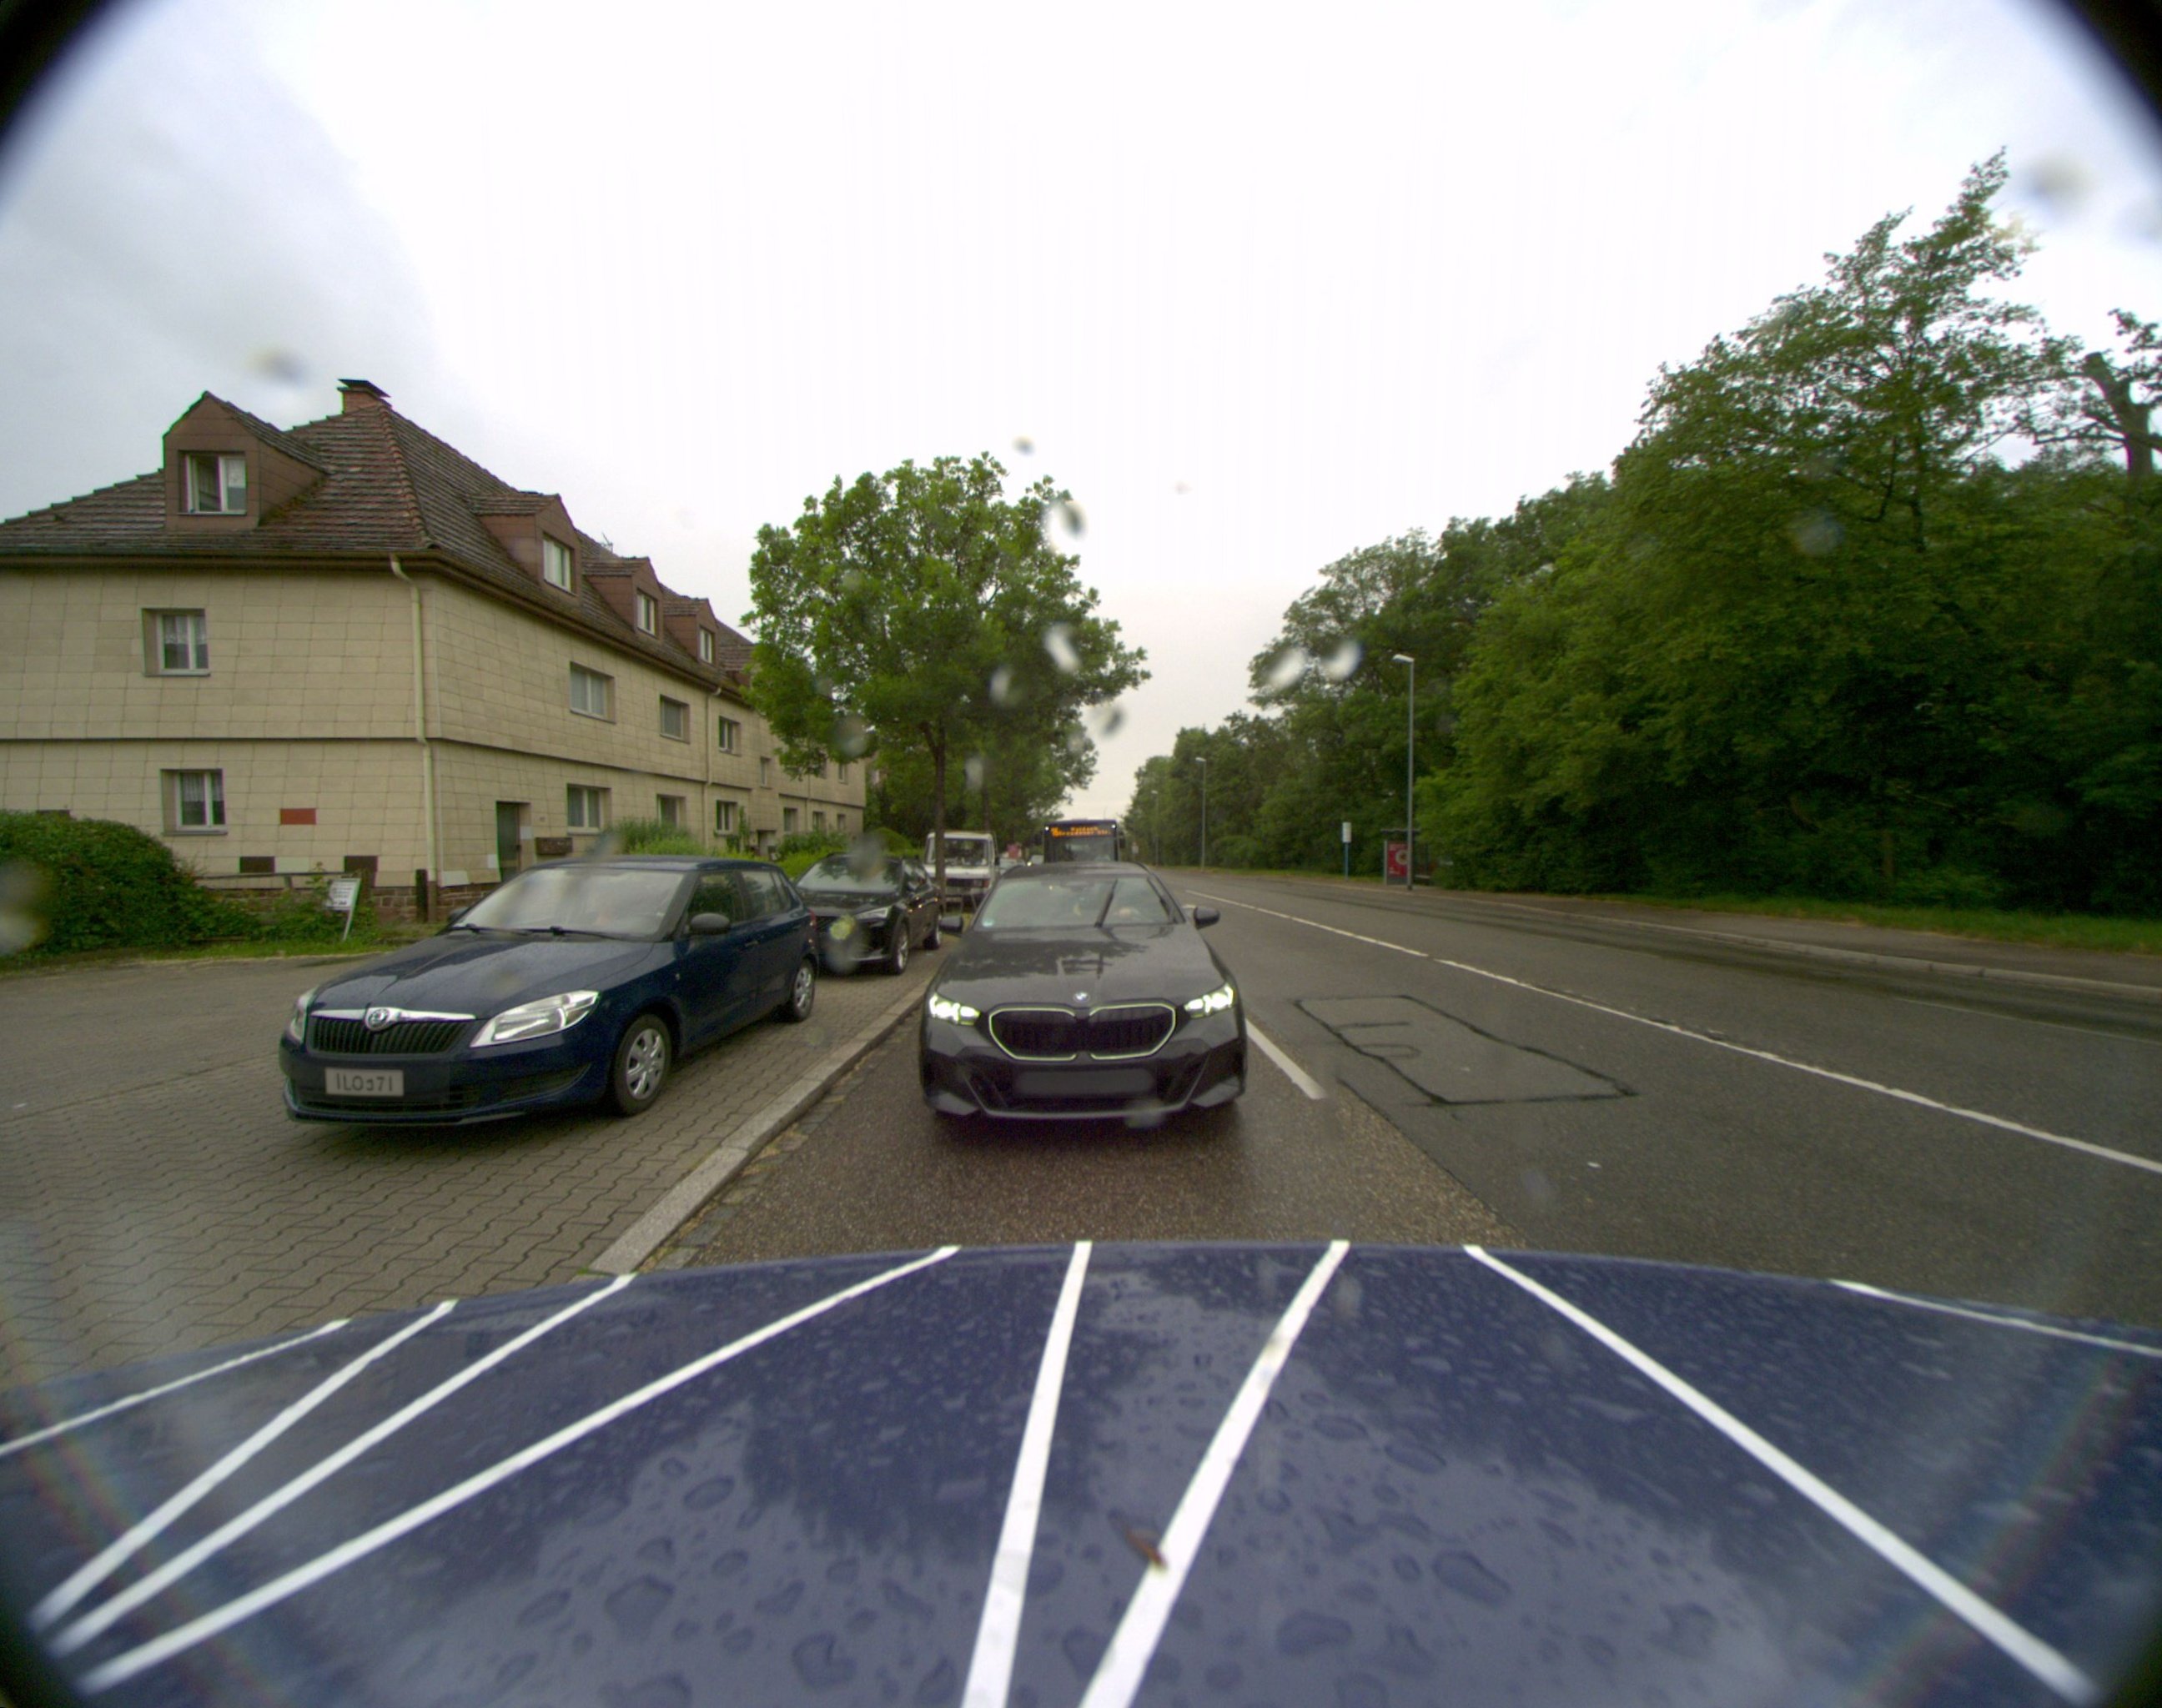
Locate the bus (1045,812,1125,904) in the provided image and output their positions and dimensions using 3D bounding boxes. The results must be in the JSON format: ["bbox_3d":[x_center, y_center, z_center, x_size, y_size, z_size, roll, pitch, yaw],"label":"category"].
[{"bbox_3d":[0.120,0.117,29.402,2.563,2.942,9.449,-1,0,0],"label":"bus"}]

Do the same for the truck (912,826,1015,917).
[{"bbox_3d":[-3.225,0.449,22.330,2.085,2.208,6.500,2,0,-1],"label":"truck"}]

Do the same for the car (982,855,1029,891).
[{"bbox_3d":[-3.257,0.866,33.401,1.605,1.427,4.023,3,-2,0],"label":"car"}]

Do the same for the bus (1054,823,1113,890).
[{"bbox_3d":[0.077,0.119,38.377,2.562,2.942,8.556,-1,0,-1],"label":"bus"}]

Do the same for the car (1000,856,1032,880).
[{"bbox_3d":[-3.966,0.822,47.124,1.692,1.381,4.499,1,0,-1],"label":"car"}]

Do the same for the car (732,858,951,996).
[{"bbox_3d":[-3.079,0.848,10.734,1.718,1.490,4.183,2,0,0],"label":"car"}]

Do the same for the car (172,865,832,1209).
[{"bbox_3d":[-3.235,0.848,5.330,1.608,1.463,3.856,1,0,1],"label":"car"}]

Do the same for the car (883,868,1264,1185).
[{"bbox_3d":[-0.047,0.898,6.011,1.855,1.461,4.483,-1,0,0],"label":"car"}]
